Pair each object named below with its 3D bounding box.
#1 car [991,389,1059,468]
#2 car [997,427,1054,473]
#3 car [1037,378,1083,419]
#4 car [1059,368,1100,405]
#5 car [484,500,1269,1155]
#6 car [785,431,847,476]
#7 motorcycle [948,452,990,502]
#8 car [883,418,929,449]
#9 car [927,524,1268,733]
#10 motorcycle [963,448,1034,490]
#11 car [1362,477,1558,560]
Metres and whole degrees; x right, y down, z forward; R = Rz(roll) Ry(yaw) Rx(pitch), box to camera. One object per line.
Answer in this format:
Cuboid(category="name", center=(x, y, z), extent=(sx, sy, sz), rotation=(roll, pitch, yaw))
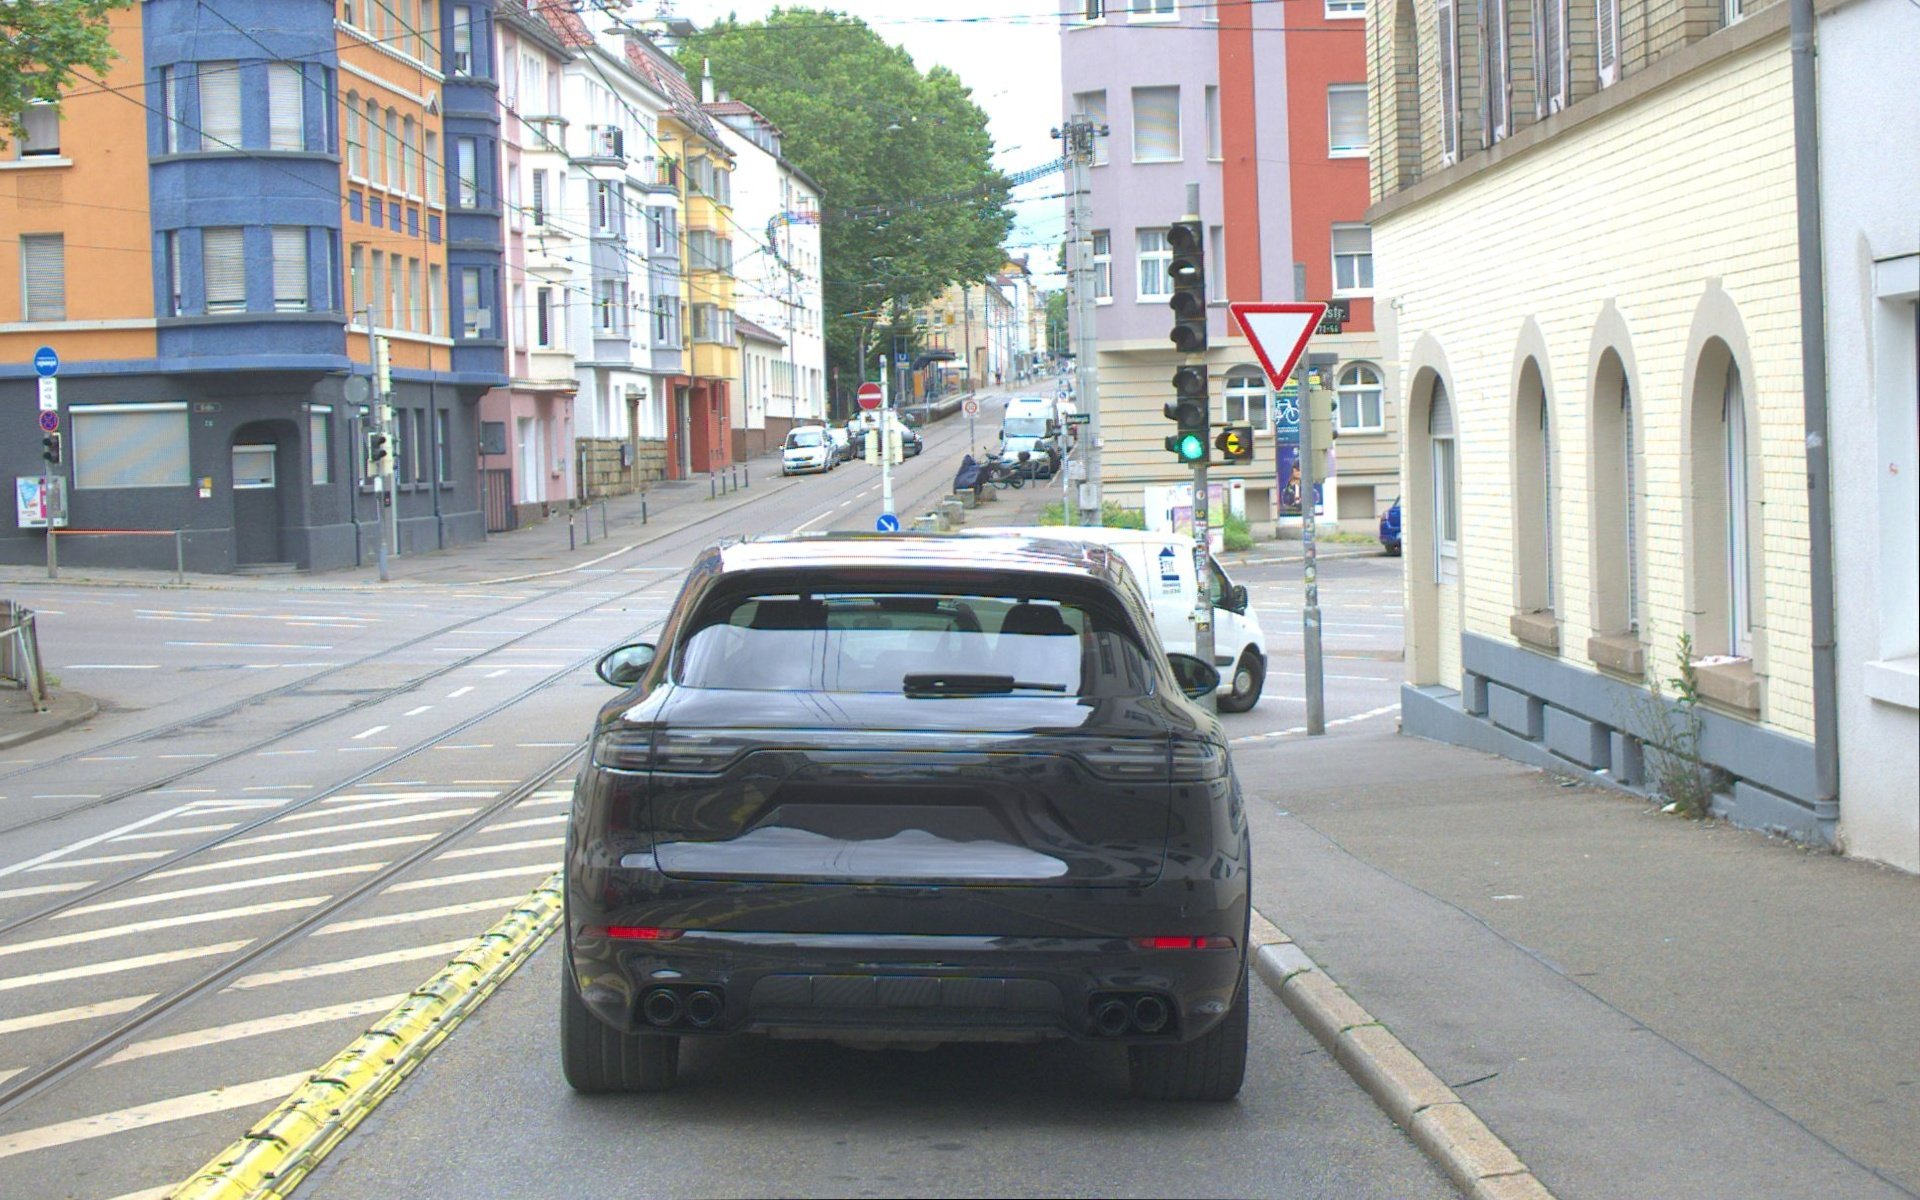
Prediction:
Cuboid(category="car", center=(2.452, -6.410, 128.270), extent=(2.267, 2.880, 4.769), rotation=(1, 3, 4))
Cuboid(category="car", center=(2.358, -5.385, 122.953), extent=(1.840, 1.563, 3.819), rotation=(1, 3, 4))
Cuboid(category="car", center=(5.533, -11.111, 189.552), extent=(2.267, 2.176, 4.769), rotation=(1, 3, 4))
Cuboid(category="car", center=(7.307, -13.008, 209.777), extent=(2.267, 2.176, 4.769), rotation=(1, 3, 4))
Cuboid(category="car", center=(-0.036, 0.526, 11.171), extent=(2.024, 1.636, 4.355), rotation=(2, 2, 5))
Cuboid(category="car", center=(-5.635, -5.761, 134.875), extent=(1.994, 1.686, 4.000), rotation=(1, 3, 4))
Cuboid(category="motorcycle", center=(0.253, -3.566, 99.328), extent=(0.859, 1.322, 2.185), rotation=(-6, 4, -5))
Cuboid(category="car", center=(-2.370, -7.302, 150.848), extent=(1.686, 1.322, 3.662), rotation=(1, 3, 4))
Cuboid(category="car", center=(1.448, 0.217, 34.298), extent=(1.867, 1.877, 4.280), rotation=(2, 2, 24))
Cuboid(category="motorcycle", center=(1.232, -4.183, 109.742), extent=(2.176, 1.322, 0.700), rotation=(1, 3, -6))
Cuboid(category="car", center=(10.675, -1.761, 73.301), extent=(4.130, 1.529, 1.918), rotation=(-4, 6, -41))
